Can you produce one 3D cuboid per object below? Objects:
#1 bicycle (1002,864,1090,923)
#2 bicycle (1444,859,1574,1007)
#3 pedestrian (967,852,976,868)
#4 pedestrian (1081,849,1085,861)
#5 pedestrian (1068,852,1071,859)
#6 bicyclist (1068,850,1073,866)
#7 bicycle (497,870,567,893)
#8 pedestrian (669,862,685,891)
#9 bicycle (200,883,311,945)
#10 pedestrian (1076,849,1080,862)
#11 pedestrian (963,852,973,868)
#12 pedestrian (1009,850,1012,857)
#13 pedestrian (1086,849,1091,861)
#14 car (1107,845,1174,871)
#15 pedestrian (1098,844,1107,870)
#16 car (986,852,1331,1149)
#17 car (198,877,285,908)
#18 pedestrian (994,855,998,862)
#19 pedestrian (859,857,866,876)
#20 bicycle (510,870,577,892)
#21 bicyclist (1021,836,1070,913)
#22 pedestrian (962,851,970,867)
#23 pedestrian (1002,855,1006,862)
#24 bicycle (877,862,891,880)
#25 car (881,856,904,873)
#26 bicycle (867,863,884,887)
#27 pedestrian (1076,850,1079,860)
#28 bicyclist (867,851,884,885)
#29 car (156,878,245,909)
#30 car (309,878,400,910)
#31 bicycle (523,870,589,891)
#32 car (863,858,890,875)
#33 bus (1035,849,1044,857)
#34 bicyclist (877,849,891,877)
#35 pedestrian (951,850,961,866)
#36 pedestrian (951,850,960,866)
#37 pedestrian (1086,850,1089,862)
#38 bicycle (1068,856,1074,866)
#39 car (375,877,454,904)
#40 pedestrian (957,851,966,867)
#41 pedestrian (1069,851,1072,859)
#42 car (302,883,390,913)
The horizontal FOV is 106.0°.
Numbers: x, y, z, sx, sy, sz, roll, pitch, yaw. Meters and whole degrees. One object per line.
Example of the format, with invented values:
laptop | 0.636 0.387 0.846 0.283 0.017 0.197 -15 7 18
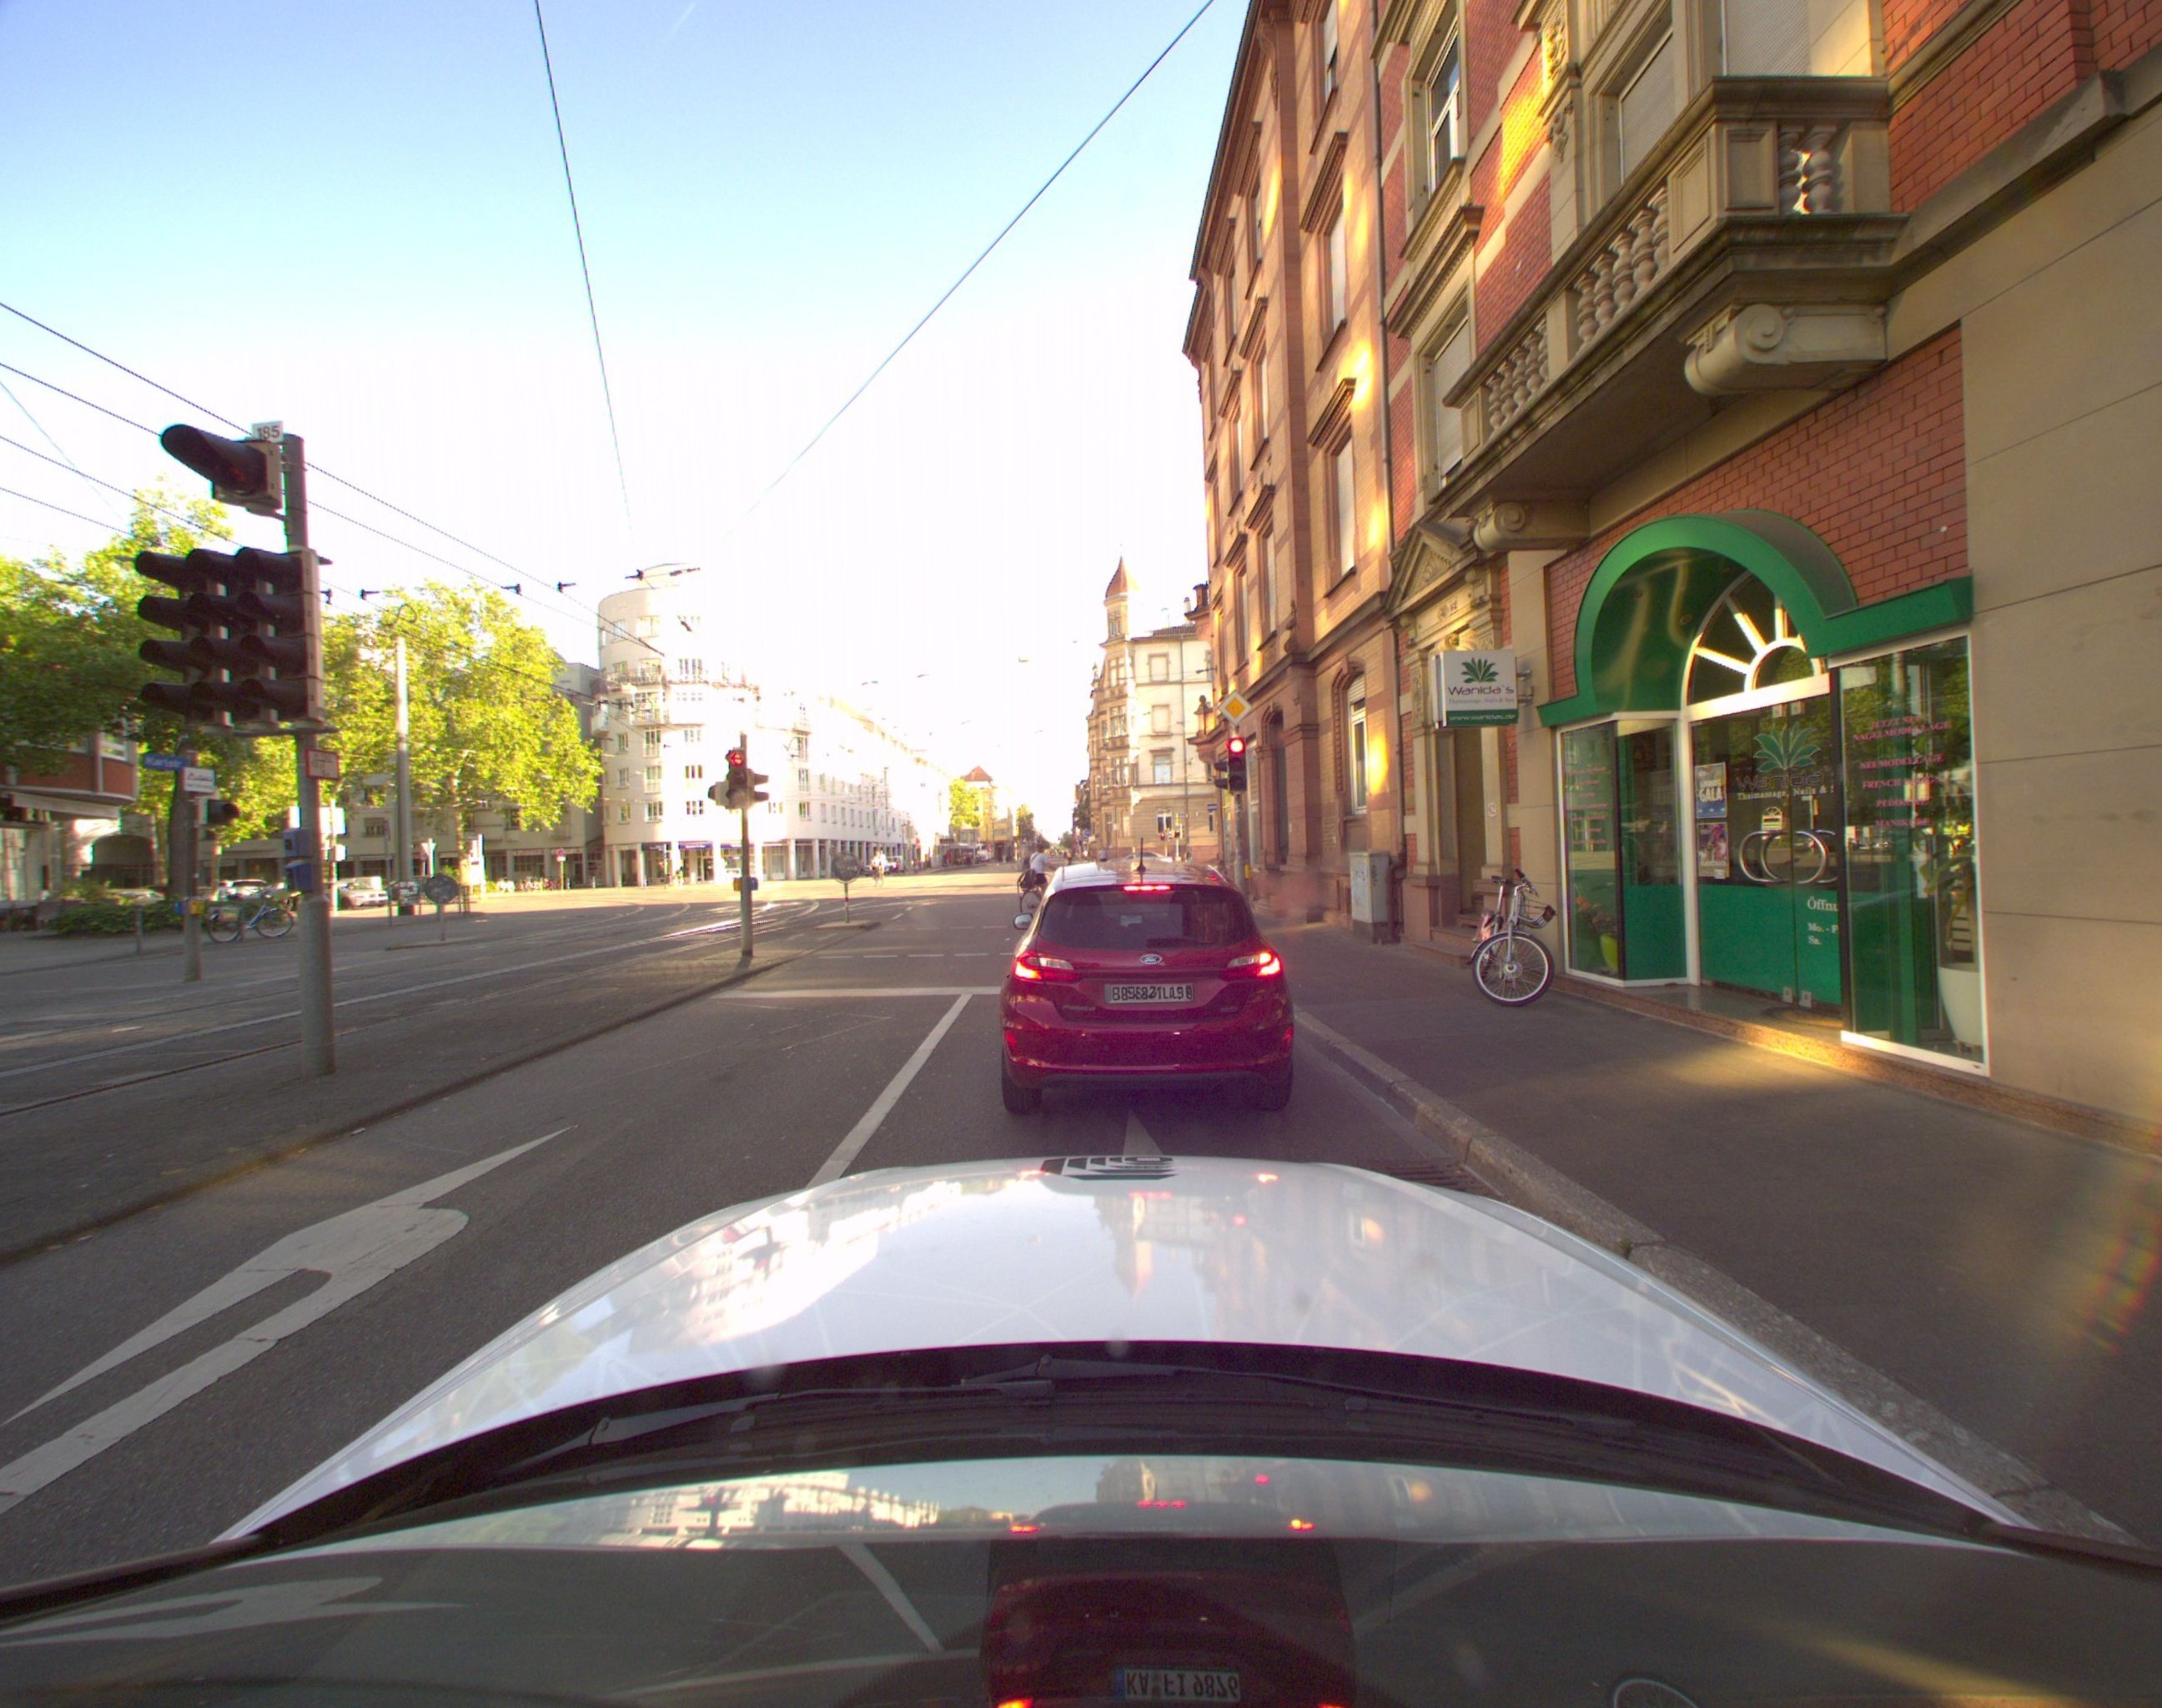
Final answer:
bicycle | -0.741 0.829 17.807 0.620 1.177 2.037 -1 0 44
bicycle | 3.878 0.670 7.511 0.710 1.152 1.663 -4 0 17
pedestrian | -14.224 0.731 106.155 1.043 2.013 0.958 -2 0 -3
pedestrian | 0.279 0.182 133.535 0.574 2.013 0.632 -2 0 5
pedestrian | -2.929 0.335 204.445 0.575 1.887 0.669 -2 0 -1
bicyclist | -1.096 0.426 84.375 0.498 1.676 0.545 -2 0 1
bicycle | -42.998 2.149 63.810 4.685 1.530 1.067 -2 0 2
pedestrian | -29.691 1.648 59.874 0.949 2.013 0.931 -2 0 -29
bicycle | -19.744 1.408 19.536 0.668 1.327 1.907 1 0 2
pedestrian | -0.508 0.278 133.417 0.574 2.013 0.632 -2 0 5
pedestrian | -14.342 0.727 103.560 1.043 2.013 0.958 -2 0 -3
pedestrian | -17.067 -0.197 197.423 0.630 1.604 0.575 -2 0 -18
pedestrian | 1.237 0.130 134.779 0.574 2.013 0.632 -2 0 5
car | 4.175 0.303 57.558 4.436 1.641 1.701 -2 0 -4
pedestrian | 1.752 0.234 65.688 0.649 2.013 0.759 -2 0 -2
car | 0.318 0.736 6.107 1.750 1.466 3.941 -1 0 -3
car | -60.395 2.716 58.675 1.986 1.964 4.001 -2 0 1
pedestrian | -17.567 0.906 168.237 0.579 1.488 0.525 -2 0 -3
pedestrian | -19.780 1.118 73.642 0.524 1.681 0.484 -2 0 -8
bicycle | -42.836 2.130 64.947 4.685 1.530 1.067 -2 0 2
bicyclist | -0.772 0.427 17.798 0.756 1.627 0.736 -1 0 44
pedestrian | -15.367 0.688 108.941 0.954 2.013 1.047 -2 0 -3
pedestrian | -15.543 0.881 164.454 0.522 1.488 0.583 -2 0 1
bicycle | -13.318 1.142 55.015 0.809 1.147 1.999 -2 0 -16
car | -20.341 1.078 88.130 1.696 1.718 3.562 -2 0 -1
bicycle | -10.651 1.079 42.257 0.809 1.147 2.040 -2 0 -14
pedestrian | -0.853 0.189 177.314 0.575 2.013 0.630 -2 0 0
bicyclist | -10.667 0.728 42.256 0.809 1.726 0.790 -2 0 -14
car | -63.313 2.812 58.658 1.986 1.964 4.001 -2 0 1
car | -40.233 2.196 45.110 3.978 1.559 1.636 -3 0 11
bicycle | -42.841 2.139 66.499 4.685 1.530 1.067 -2 0 2
car | -20.204 1.243 80.638 1.760 1.546 3.460 -2 0 0
bus | -11.002 -0.314 217.772 1.919 2.013 7.137 -2 0 1
bicyclist | -13.274 0.589 54.815 0.809 1.821 0.988 -2 0 -16
pedestrian | -15.876 0.487 103.478 1.043 2.013 0.958 -2 0 -3
pedestrian | -15.581 0.510 101.116 0.953 2.013 1.048 -2 0 -1
pedestrian | 0.988 0.289 119.441 0.412 1.680 0.485 -2 0 1
bicycle | -1.074 0.727 84.575 0.524 1.089 1.487 -2 0 1
car | -44.170 2.406 53.994 3.969 1.531 1.618 -2 0 4
pedestrian | -15.497 0.698 105.487 1.043 2.013 0.958 -2 0 -3
pedestrian | -2.567 0.258 200.797 0.575 1.887 0.630 -2 0 -1
car | -36.911 2.224 40.877 3.968 1.295 1.781 -2 0 24
